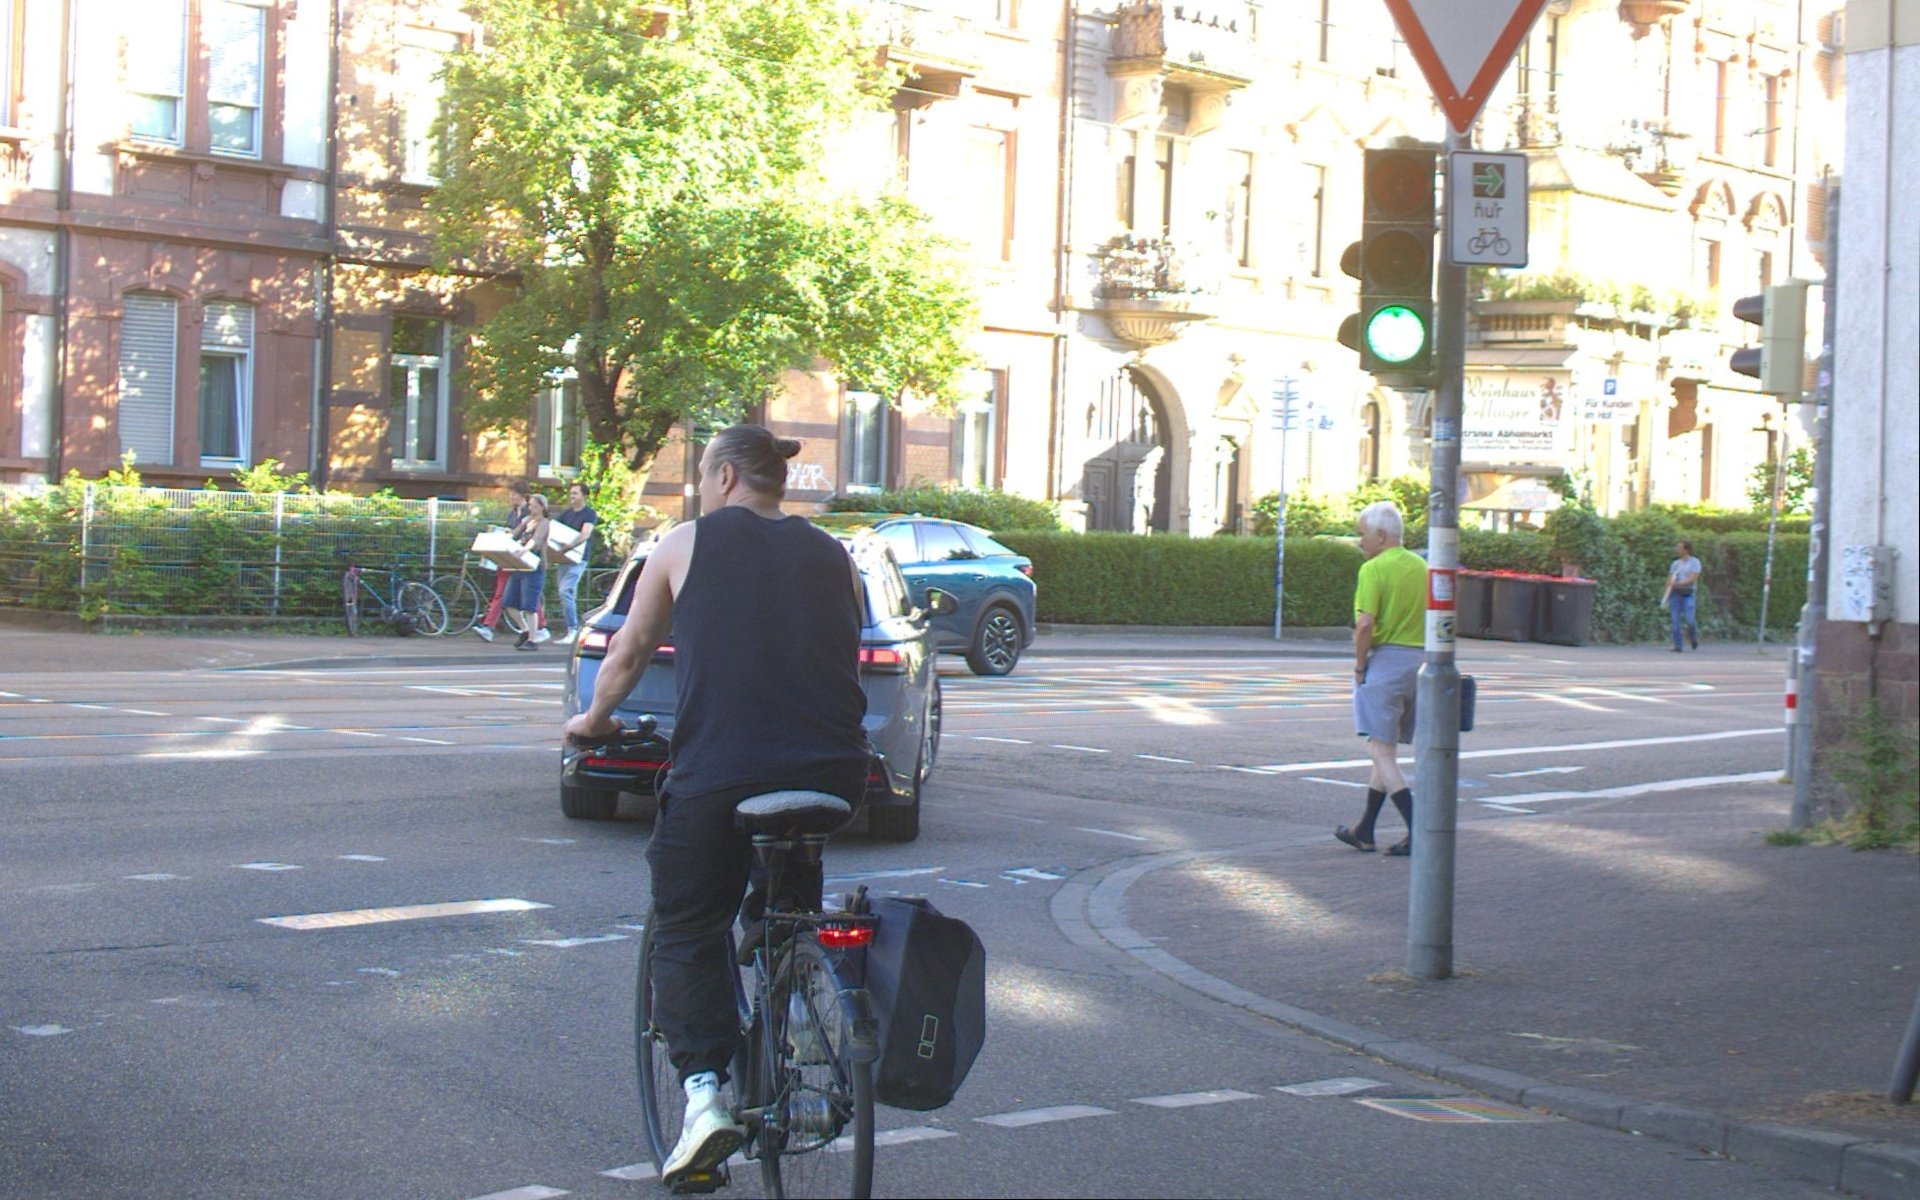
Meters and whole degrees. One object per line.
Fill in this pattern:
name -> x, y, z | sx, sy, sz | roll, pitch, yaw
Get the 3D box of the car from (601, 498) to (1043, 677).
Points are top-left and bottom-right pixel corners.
car -> -1.329, -0.116, 34.713 | 1.947, 1.644, 4.400 | 3, 1, 40

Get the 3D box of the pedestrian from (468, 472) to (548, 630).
pedestrian -> -4.967, -0.540, 37.749 | 0.634, 1.709, 0.521 | 1, 1, -37

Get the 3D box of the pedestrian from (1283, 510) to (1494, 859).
pedestrian -> 2.185, 0.407, 17.558 | 0.643, 1.721, 0.888 | -1, 2, -33

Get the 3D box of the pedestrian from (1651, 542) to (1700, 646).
pedestrian -> 11.445, -0.095, 55.002 | 0.494, 1.635, 0.526 | 1, 1, -39

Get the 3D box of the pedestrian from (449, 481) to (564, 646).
pedestrian -> -4.777, -0.382, 36.195 | 0.895, 1.659, 0.712 | 2, 4, -33

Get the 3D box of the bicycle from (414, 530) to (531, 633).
bicycle -> -5.441, -0.202, 38.427 | 1.230, 1.103, 0.443 | 1, 2, -44

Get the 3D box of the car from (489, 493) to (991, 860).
car -> -1.025, 0.318, 18.477 | 1.970, 1.580, 4.474 | 4, 1, 4

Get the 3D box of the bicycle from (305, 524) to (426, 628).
bicycle -> -6.474, -0.256, 37.451 | 1.230, 1.103, 0.443 | 1, 3, -44

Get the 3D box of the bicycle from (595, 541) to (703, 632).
bicycle -> -3.641, -0.156, 40.303 | 0.443, 1.035, 1.230 | 4, 2, 45

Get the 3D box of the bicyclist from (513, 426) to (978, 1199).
bicyclist -> -0.479, 0.478, 7.288 | 0.686, 1.650, 0.990 | 1, 1, -22

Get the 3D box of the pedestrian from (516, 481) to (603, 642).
pedestrian -> -4.361, -0.419, 37.407 | 0.634, 1.709, 0.664 | 1, 1, -37
